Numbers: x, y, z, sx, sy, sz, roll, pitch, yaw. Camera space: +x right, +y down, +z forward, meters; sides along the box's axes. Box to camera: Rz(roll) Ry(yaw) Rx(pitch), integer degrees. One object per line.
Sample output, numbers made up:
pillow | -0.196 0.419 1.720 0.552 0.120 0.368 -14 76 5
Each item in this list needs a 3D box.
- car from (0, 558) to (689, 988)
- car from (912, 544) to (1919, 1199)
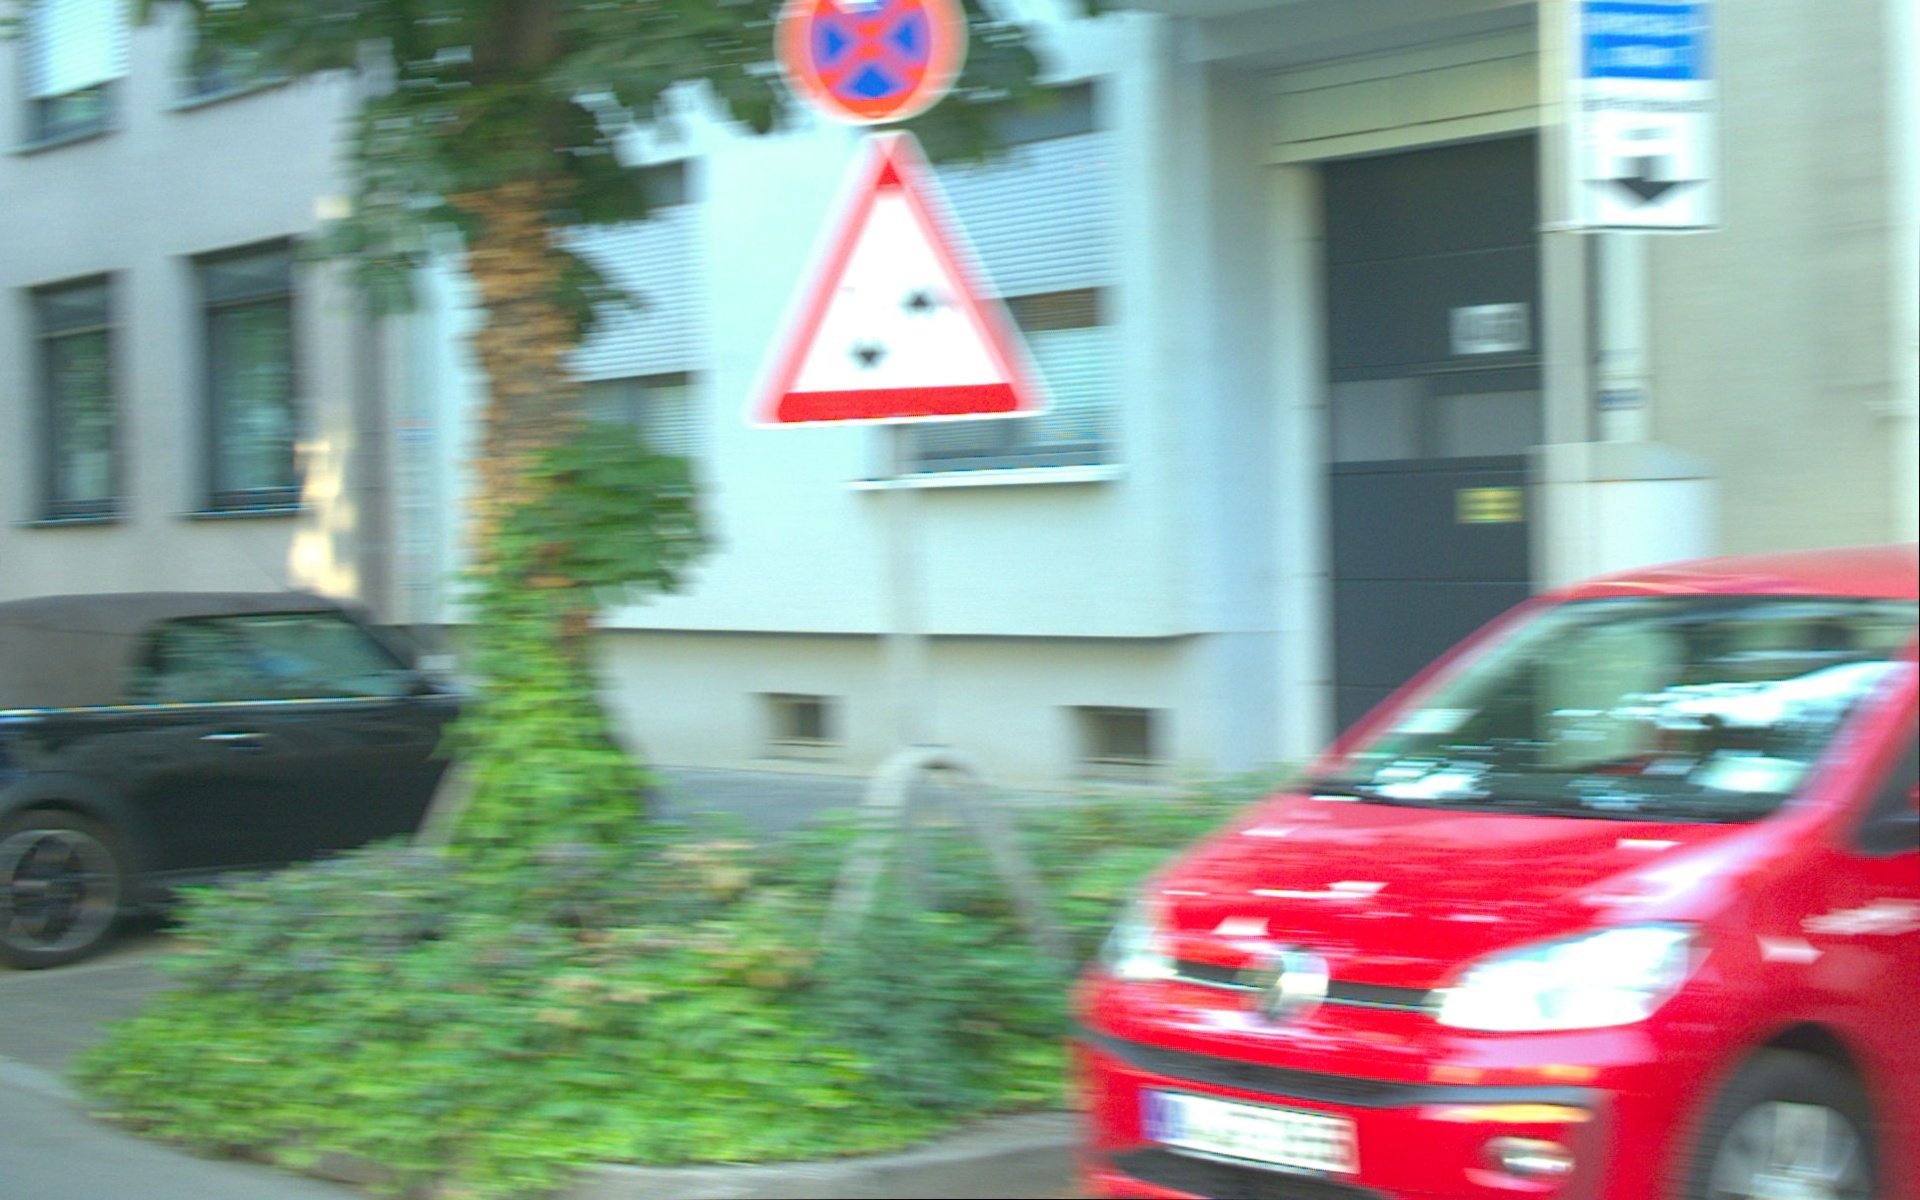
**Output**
car | -3.147 0.655 14.449 3.705 1.423 1.626 -5 3 -41
car | 1.838 0.648 7.491 3.657 1.470 1.565 -3 2 -39
